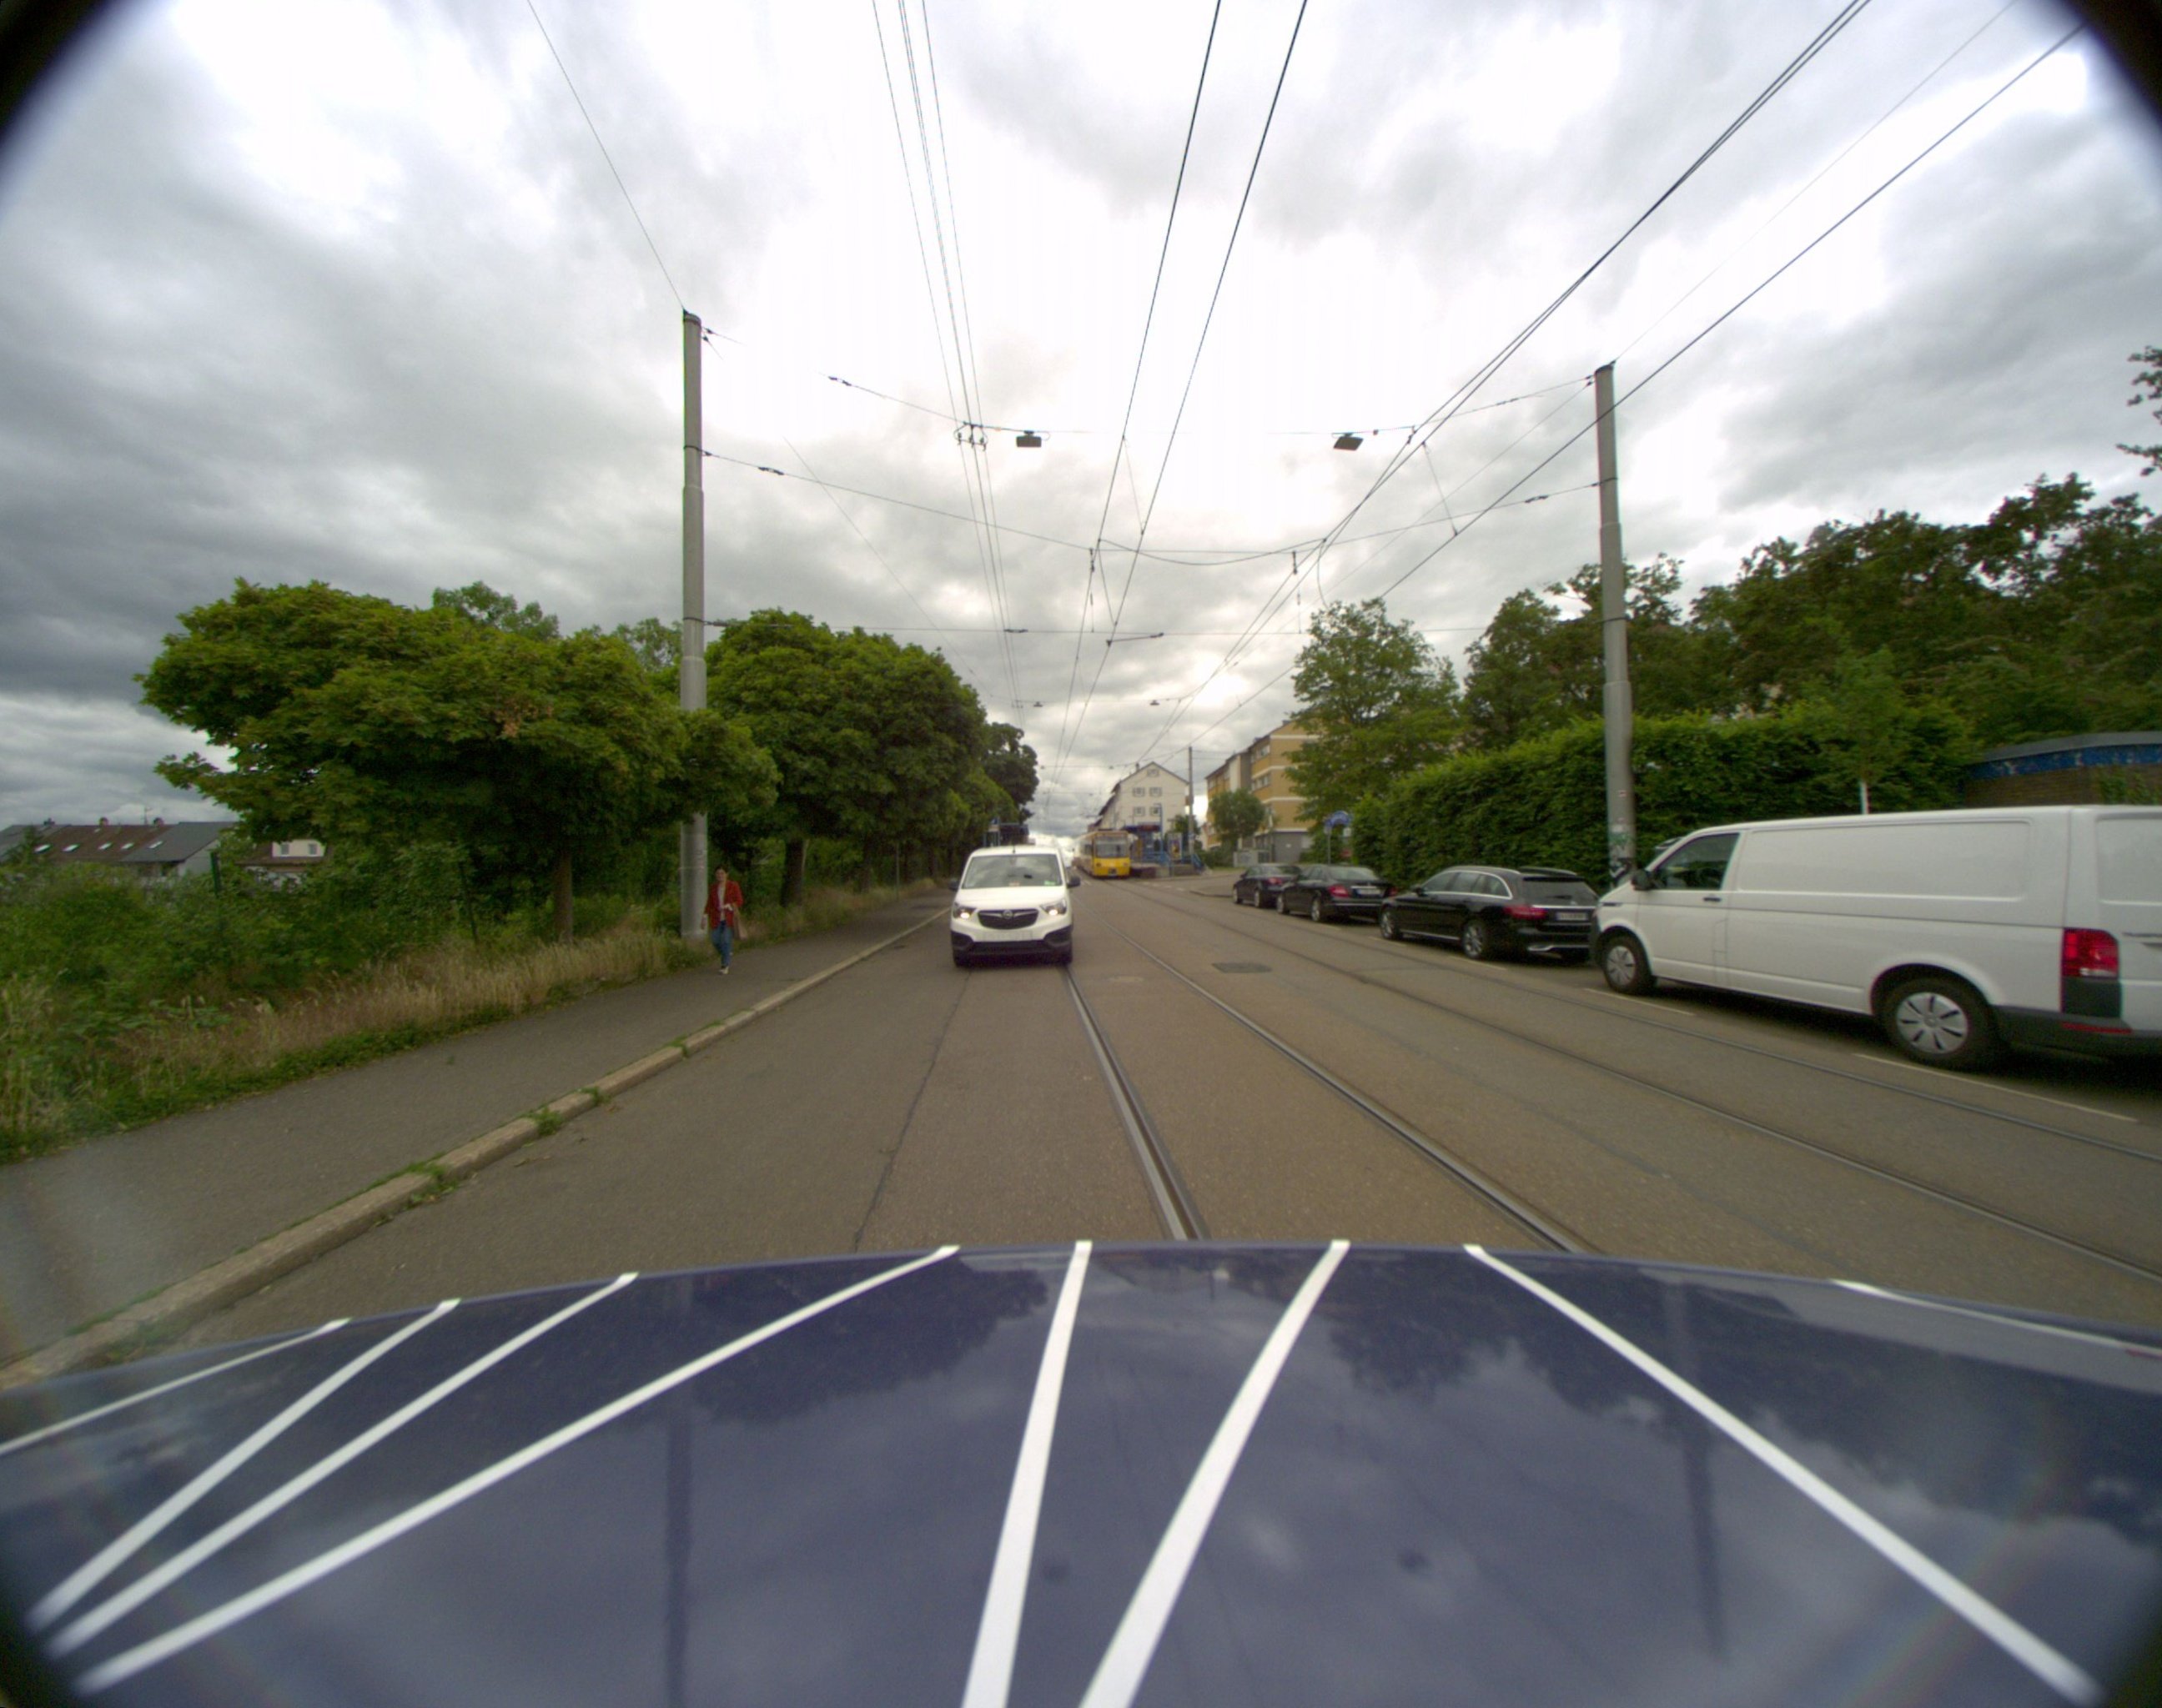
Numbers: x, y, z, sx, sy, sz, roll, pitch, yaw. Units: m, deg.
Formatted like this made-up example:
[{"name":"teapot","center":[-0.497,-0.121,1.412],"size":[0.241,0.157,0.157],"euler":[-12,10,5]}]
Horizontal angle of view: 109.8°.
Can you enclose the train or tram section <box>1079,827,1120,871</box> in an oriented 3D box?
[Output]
[{"name":"train or tram section","center":[1.545,-0.457,70.542],"size":[2.831,3.615,12.125],"euler":[-1,0,-3]}]

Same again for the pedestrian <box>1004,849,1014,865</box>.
[{"name":"pedestrian","center":[-5.925,0.257,62.639],"size":[0.781,1.307,0.656],"euler":[-1,1,-2]}]

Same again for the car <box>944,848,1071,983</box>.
[{"name":"car","center":[-1.064,0.858,12.789],"size":[1.730,1.850,4.420],"euler":[-1,0,-1]}]

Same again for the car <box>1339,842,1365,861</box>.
[{"name":"car","center":[22.548,-0.224,63.202],"size":[1.838,1.455,4.006],"euler":[-1,0,23]}]

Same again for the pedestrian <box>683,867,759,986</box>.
[{"name":"pedestrian","center":[-5.131,1.009,10.860],"size":[0.717,1.611,0.718],"euler":[-1,1,-2]}]

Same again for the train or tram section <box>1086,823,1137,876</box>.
[{"name":"train or tram section","center":[2.134,-0.347,58.382],"size":[2.857,3.615,12.126],"euler":[-1,0,-2]}]

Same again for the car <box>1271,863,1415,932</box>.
[{"name":"car","center":[6.362,0.988,19.049],"size":[1.845,1.379,4.438],"euler":[0,1,-3]}]

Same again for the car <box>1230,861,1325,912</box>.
[{"name":"car","center":[6.241,0.986,24.653],"size":[1.795,1.396,4.159],"euler":[0,1,-3]}]

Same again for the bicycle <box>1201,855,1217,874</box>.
[{"name":"bicycle","center":[8.336,0.679,49.597],"size":[0.713,1.174,1.487],"euler":[0,1,-2]}]

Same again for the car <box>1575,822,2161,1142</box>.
[{"name":"car","center":[7.127,0.722,6.917],"size":[1.974,1.902,4.732],"euler":[0,1,-4]}]

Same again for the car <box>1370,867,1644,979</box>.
[{"name":"car","center":[6.740,0.988,12.730],"size":[1.845,1.379,4.515],"euler":[0,1,-3]}]
